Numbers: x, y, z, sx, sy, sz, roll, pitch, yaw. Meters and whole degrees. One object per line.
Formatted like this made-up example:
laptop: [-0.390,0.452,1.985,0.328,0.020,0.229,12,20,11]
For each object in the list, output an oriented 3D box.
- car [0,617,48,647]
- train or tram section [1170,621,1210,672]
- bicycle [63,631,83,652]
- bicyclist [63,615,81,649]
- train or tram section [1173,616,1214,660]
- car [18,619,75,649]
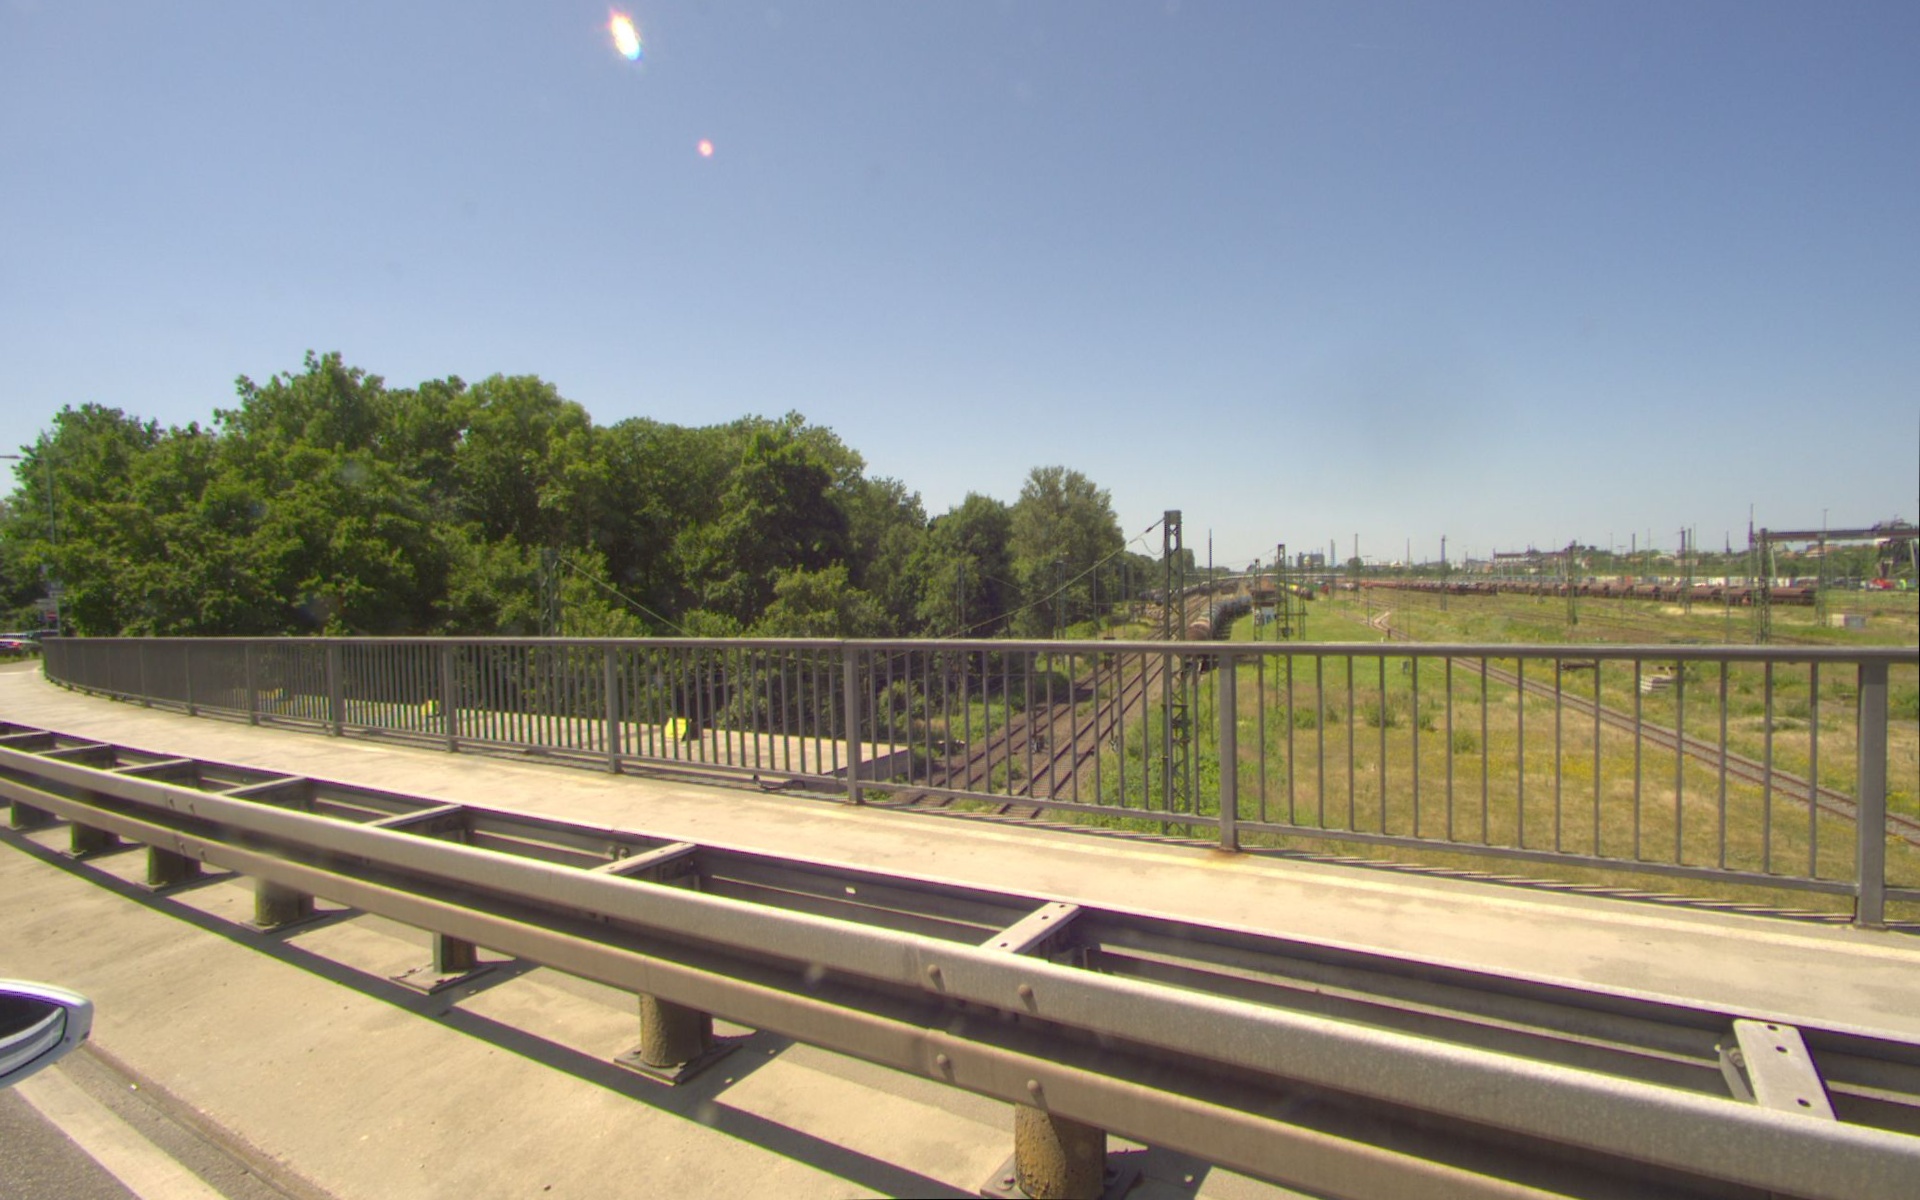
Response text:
car: [-52.984,1.822,56.110,1.972,1.594,3.981,2,-4,-31]
train or tram section: [24.641,4.827,106.975,3.781,4.366,13.612,-2,1,14]
bicycle: [-46.148,2.159,52.067,1.468,1.050,0.578,-1,2,42]
bicyclist: [-46.156,1.672,52.049,0.721,1.706,0.574,0,3,42]
train or tram section: [28.188,4.435,120.157,3.783,4.366,13.605,-2,1,17]
car: [-56.320,2.091,61.802,1.666,1.783,3.982,0,-2,-29]
